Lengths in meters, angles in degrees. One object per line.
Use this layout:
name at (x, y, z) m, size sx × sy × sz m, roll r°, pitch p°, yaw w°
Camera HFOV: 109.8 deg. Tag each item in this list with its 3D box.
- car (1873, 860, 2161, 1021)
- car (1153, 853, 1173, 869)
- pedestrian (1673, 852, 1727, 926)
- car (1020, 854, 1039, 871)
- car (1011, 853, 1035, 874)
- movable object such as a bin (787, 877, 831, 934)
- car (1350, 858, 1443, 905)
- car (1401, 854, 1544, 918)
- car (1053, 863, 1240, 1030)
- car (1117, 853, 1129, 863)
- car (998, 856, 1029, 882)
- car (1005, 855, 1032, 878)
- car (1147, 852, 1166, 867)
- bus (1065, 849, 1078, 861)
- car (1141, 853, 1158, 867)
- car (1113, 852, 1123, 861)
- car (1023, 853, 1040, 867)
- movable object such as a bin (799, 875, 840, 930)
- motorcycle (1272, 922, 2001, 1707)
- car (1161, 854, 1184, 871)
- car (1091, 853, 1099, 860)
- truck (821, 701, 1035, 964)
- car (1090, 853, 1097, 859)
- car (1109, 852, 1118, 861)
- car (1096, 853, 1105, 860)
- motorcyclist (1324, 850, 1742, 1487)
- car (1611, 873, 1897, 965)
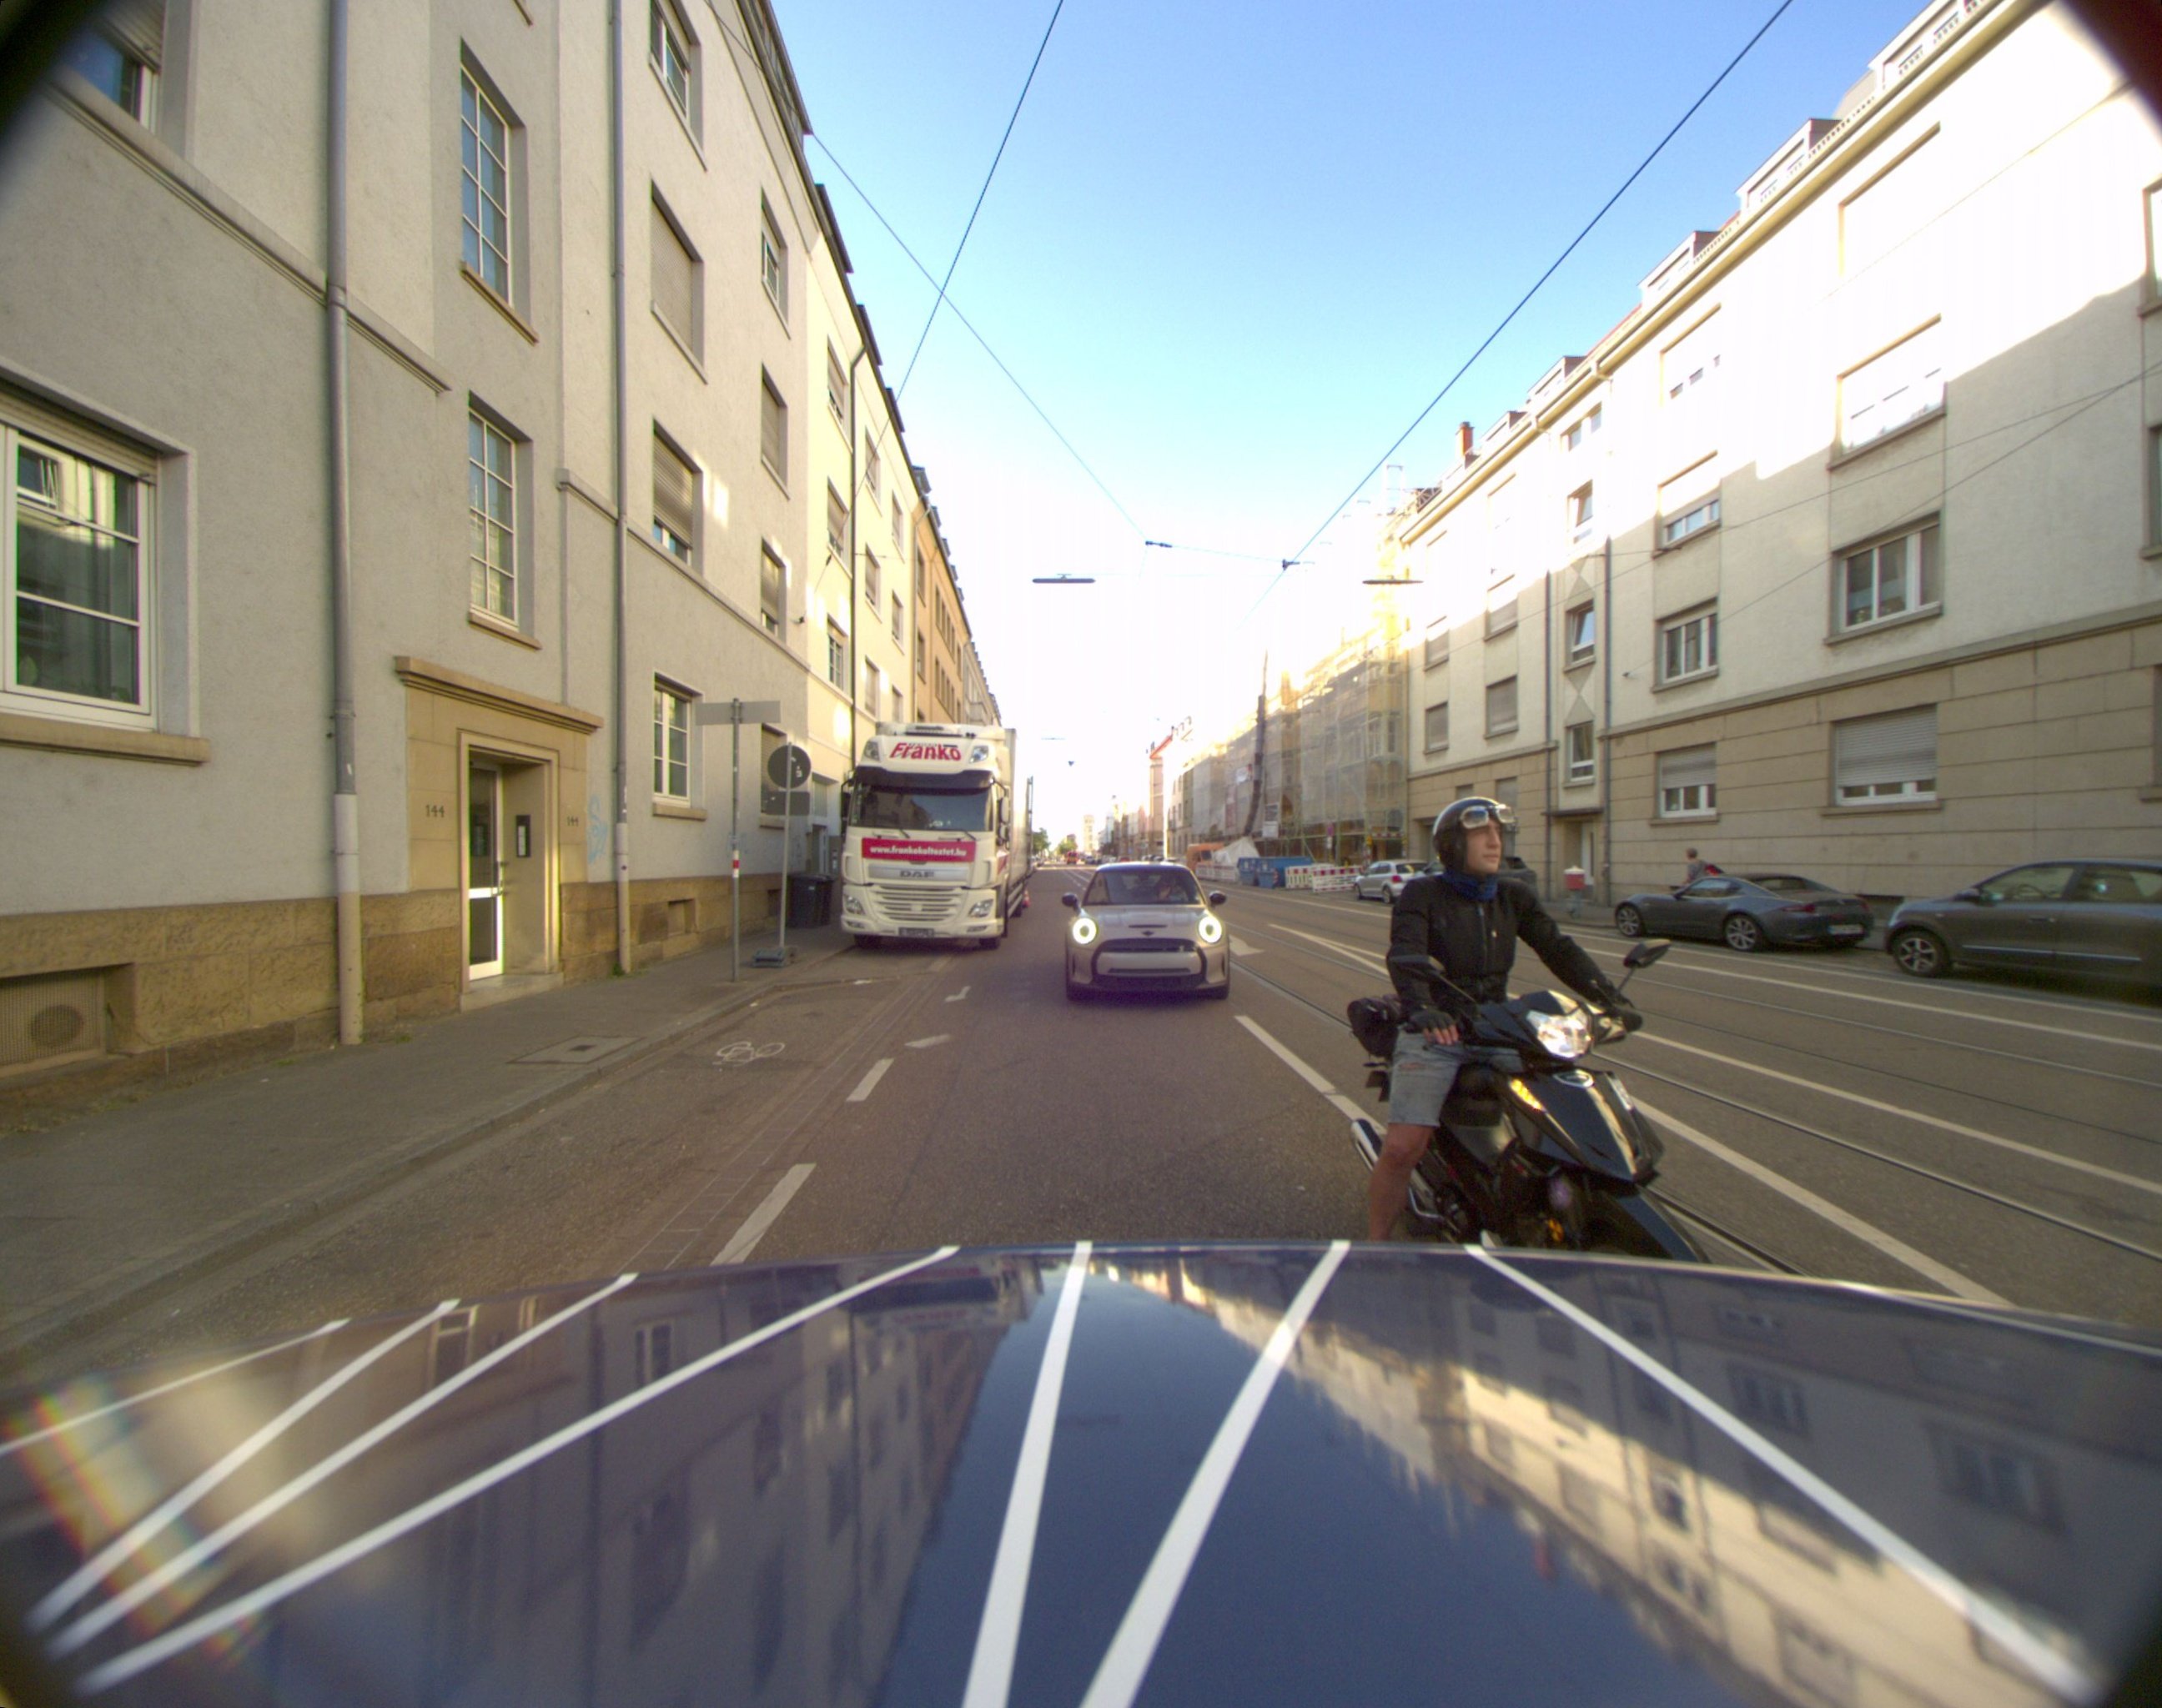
car at (11.411, 0.861, 8.335) m, size 1.679 × 1.519 × 3.539 m, roll -1°, pitch 0°, yaw -3°
car at (8.263, 0.707, 76.825) m, size 1.684 × 1.478 × 3.966 m, roll -2°, pitch 0°, yaw 1°
pedestrian at (13.155, 0.727, 16.156) m, size 0.570 × 1.532 × 0.693 m, roll 0°, pitch 1°, yaw -2°
car at (-4.860, 0.746, 72.114) m, size 1.685 × 1.522 × 4.148 m, roll -2°, pitch 0°, yaw -3°
car at (-4.515, 0.744, 59.174) m, size 1.685 × 1.522 × 4.148 m, roll -2°, pitch 0°, yaw -3°
movable object such as a bin at (-5.388, 1.003, 15.056) m, size 0.666 × 1.087 × 0.570 m, roll 0°, pitch 1°, yaw -2°
car at (10.605, 0.882, 25.795) m, size 1.543 × 1.404 × 3.510 m, roll -1°, pitch 0°, yaw -3°
car at (10.806, 0.806, 21.346) m, size 1.696 × 1.590 × 4.206 m, roll -1°, pitch 0°, yaw -3°
car at (0.545, 0.892, 9.218) m, size 1.685 × 1.454 × 4.148 m, roll -2°, pitch 0°, yaw -3°
car at (6.596, 0.626, 118.651) m, size 1.684 × 1.478 × 3.966 m, roll -2°, pitch 0°, yaw 1°
car at (-4.180, 0.894, 47.203) m, size 1.685 × 1.522 × 4.148 m, roll -2°, pitch 0°, yaw -3°
car at (-4.307, 0.826, 53.005) m, size 1.685 × 1.522 × 4.148 m, roll -2°, pitch 0°, yaw -3°
car at (8.241, 0.618, 83.199) m, size 1.684 × 1.573 × 3.966 m, roll -2°, pitch 0°, yaw 1°
bus at (-2.698, 0.315, 209.959) m, size 2.755 × 3.095 × 19.156 m, roll 0°, pitch 0°, yaw -3°
car at (7.930, 0.655, 87.895) m, size 1.684 × 1.478 × 3.966 m, roll -2°, pitch 0°, yaw 1°
car at (6.528, 0.468, 134.417) m, size 1.684 × 1.478 × 3.966 m, roll -2°, pitch 0°, yaw 1°
car at (-5.354, 0.647, 82.760) m, size 1.685 × 1.522 × 4.148 m, roll -2°, pitch 0°, yaw -3°
movable object such as a bin at (-5.405, 0.994, 15.725) m, size 0.666 × 1.087 × 0.570 m, roll 0°, pitch 1°, yaw -2°
motorcycle at (1.304, 0.971, 2.535) m, size 0.791 × 1.284 × 2.273 m, roll 0°, pitch 0°, yaw 1°
car at (8.568, 0.762, 71.128) m, size 1.684 × 1.478 × 3.966 m, roll -2°, pitch 0°, yaw 1°
car at (3.535, 0.613, 191.762) m, size 1.684 × 1.478 × 3.965 m, roll -2°, pitch 0°, yaw -1°
truck at (-2.631, -0.324, 17.196) m, size 2.782 × 3.903 × 11.816 m, roll 0°, pitch 0°, yaw -2°
car at (3.309, 0.593, 206.906) m, size 1.684 × 1.478 × 3.965 m, roll -2°, pitch 0°, yaw -1°
car at (5.955, 0.447, 139.360) m, size 1.684 × 1.478 × 3.966 m, roll -2°, pitch 0°, yaw 1°
car at (4.256, 0.620, 167.828) m, size 1.684 × 1.478 × 3.965 m, roll -2°, pitch 0°, yaw -1°
motorcyclist at (1.303, 0.814, 2.406) m, size 0.791 × 1.645 × 0.900 m, roll 0°, pitch 1°, yaw 1°
car at (11.175, 1.001, 12.997) m, size 1.520 × 1.227 × 3.685 m, roll -1°, pitch 0°, yaw -3°
